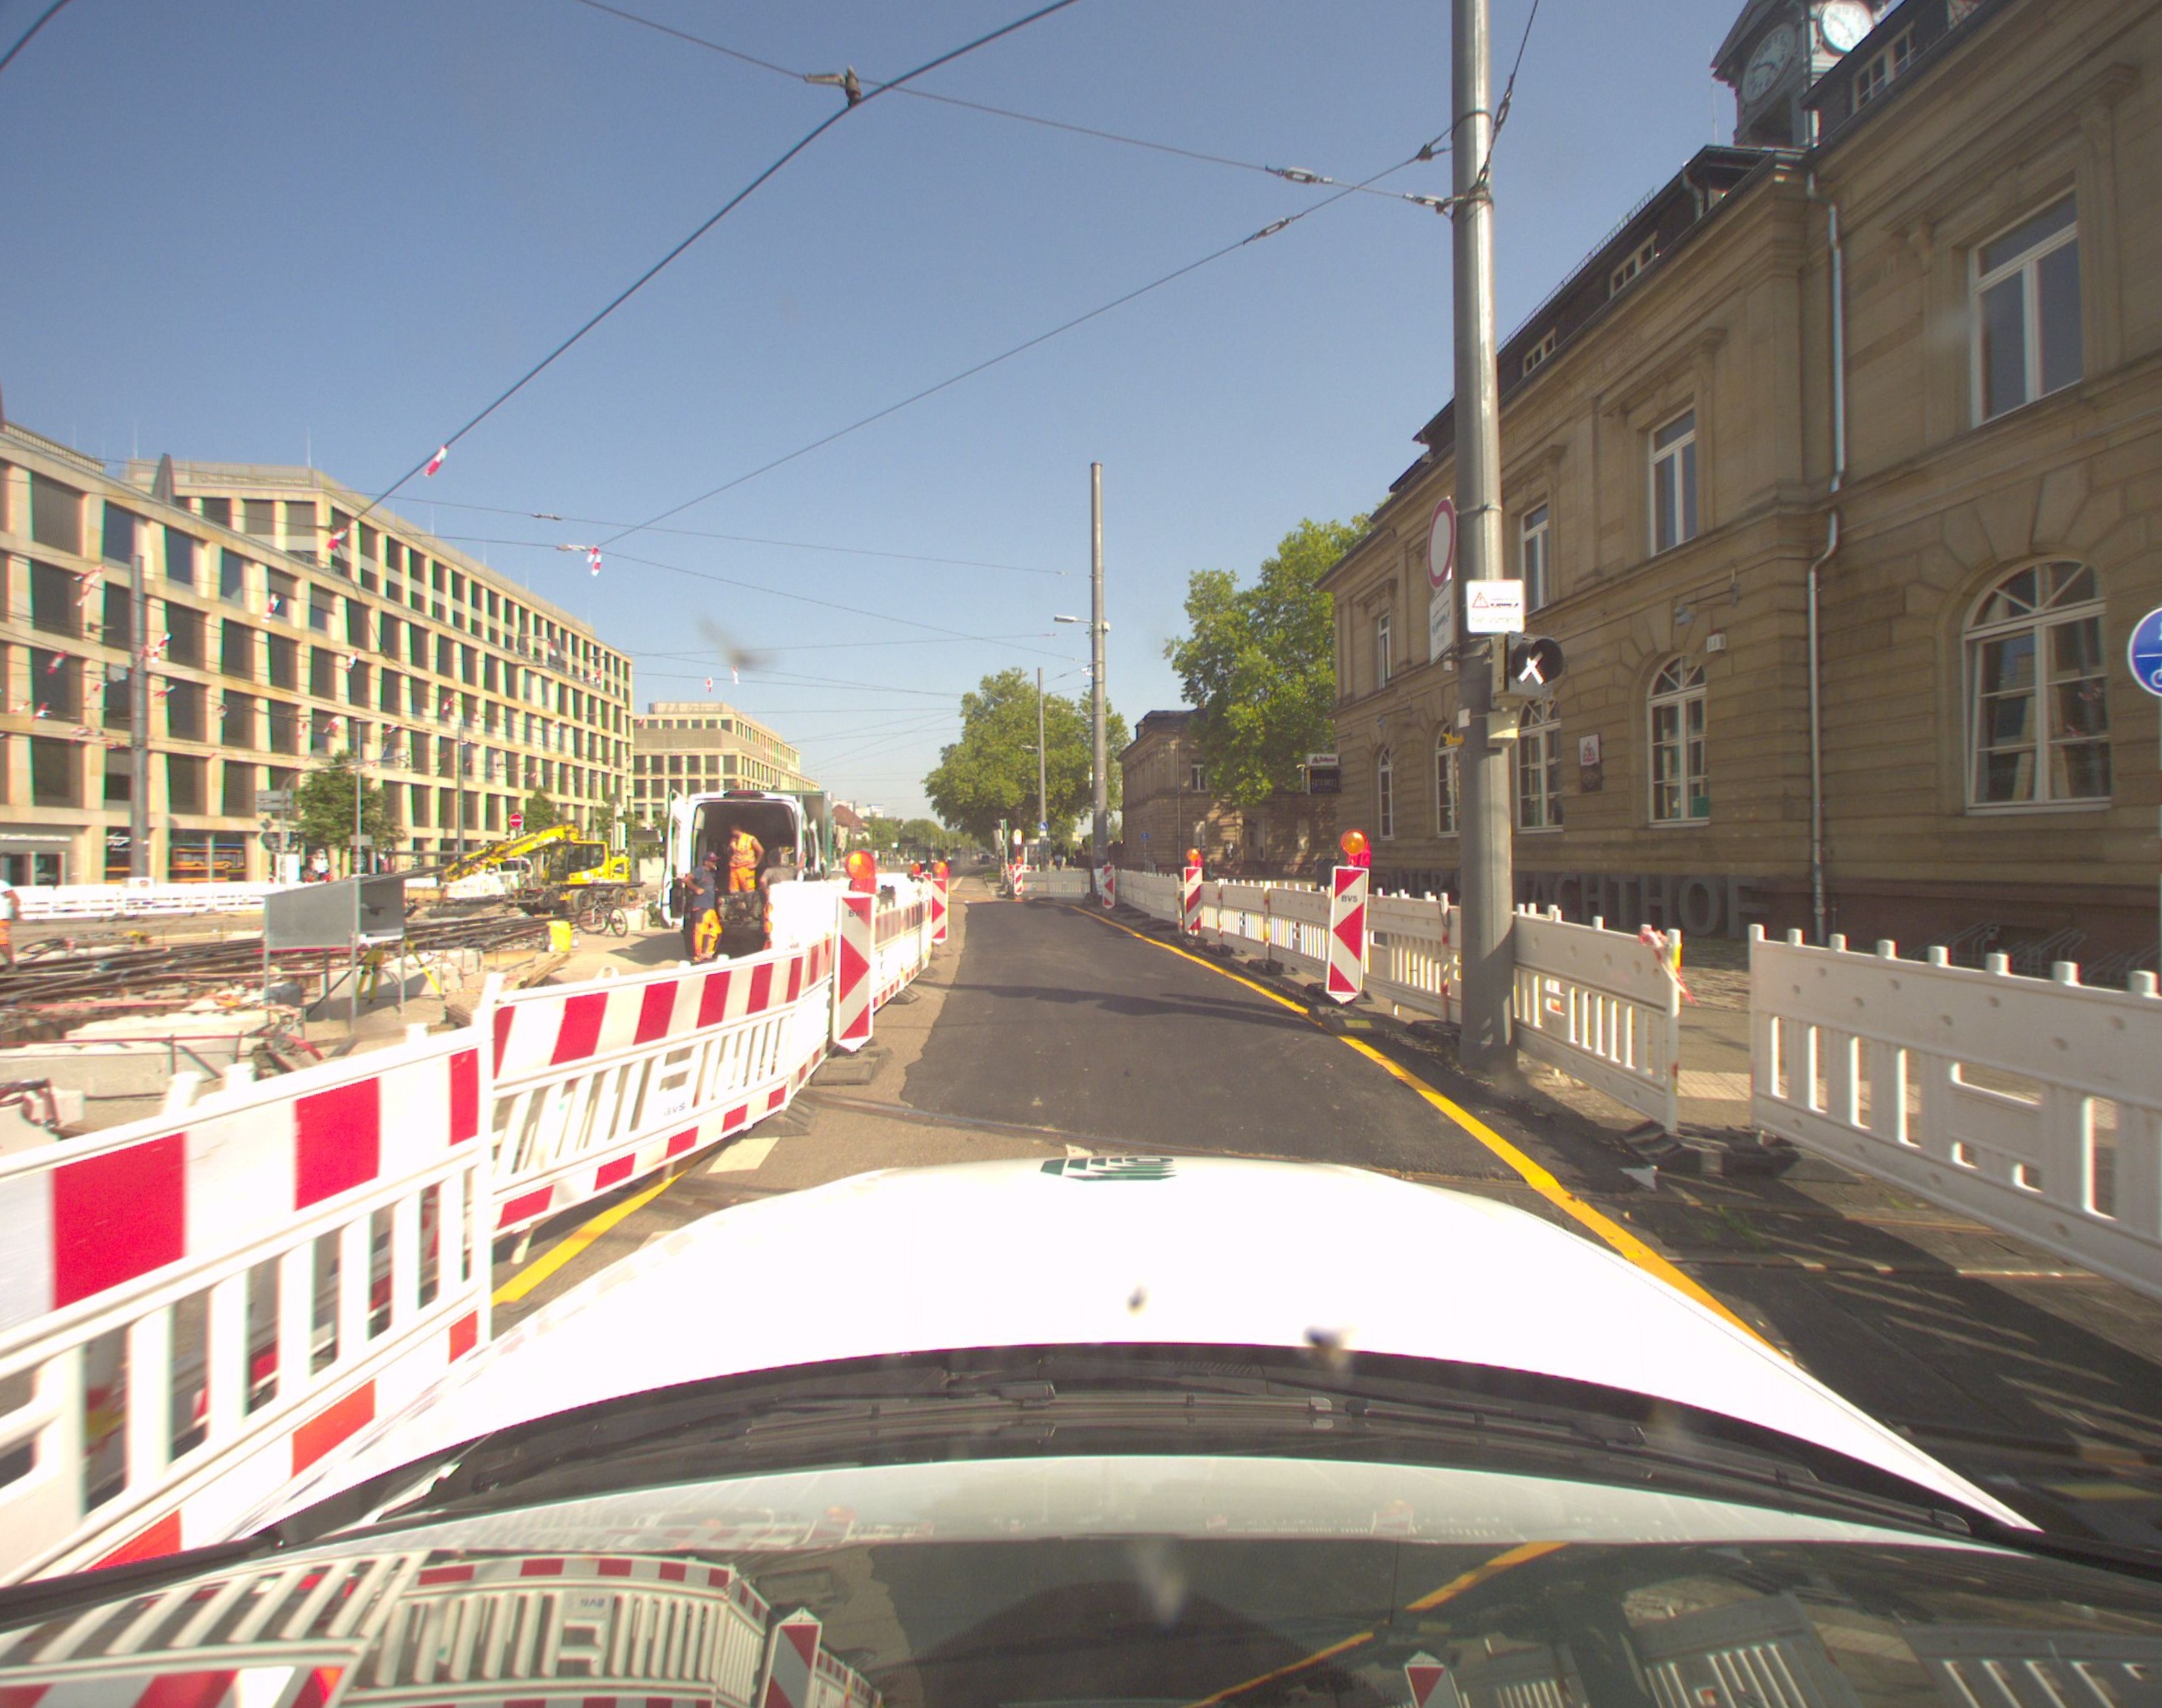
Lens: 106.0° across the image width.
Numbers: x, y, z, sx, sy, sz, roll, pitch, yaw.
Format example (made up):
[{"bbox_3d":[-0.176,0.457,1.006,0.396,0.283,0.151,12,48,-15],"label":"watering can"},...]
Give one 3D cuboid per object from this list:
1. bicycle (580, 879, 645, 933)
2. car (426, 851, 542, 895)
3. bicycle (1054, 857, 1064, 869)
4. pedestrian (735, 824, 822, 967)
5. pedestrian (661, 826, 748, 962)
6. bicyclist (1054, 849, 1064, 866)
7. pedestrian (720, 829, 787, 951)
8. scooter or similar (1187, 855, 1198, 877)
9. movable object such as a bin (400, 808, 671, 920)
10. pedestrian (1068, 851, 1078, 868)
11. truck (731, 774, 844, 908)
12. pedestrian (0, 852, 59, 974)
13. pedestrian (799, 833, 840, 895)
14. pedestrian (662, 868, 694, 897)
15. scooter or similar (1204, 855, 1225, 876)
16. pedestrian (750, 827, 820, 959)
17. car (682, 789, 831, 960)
[{"bbox_3d":[-10.360,1.124,17.978,1.640,1.136,0.621,-2,-1,36],"label":"bicycle"},{"bbox_3d":[-30.163,0.920,41.386,1.803,2.030,5.124,-1,0,4],"label":"car"},{"bbox_3d":[-1.972,0.767,73.161,0.717,1.042,1.897,-1,0,-8],"label":"bicycle"},{"bbox_3d":[-4.479,0.593,12.090,0.727,2.013,0.913,-2,-1,27],"label":"pedestrian"},{"bbox_3d":[-5.810,0.592,12.583,0.727,2.013,0.912,-2,-1,26],"label":"pedestrian"},{"bbox_3d":[-1.997,0.298,73.222,0.717,1.543,0.953,-1,0,-9],"label":"bicyclist"},{"bbox_3d":[-5.627,0.600,14.040,0.732,2.013,0.907,-2,0,-1],"label":"pedestrian"},{"bbox_3d":[6.612,0.714,48.255,0.418,1.210,1.261,-1,2,16],"label":"scooter or similar"},{"bbox_3d":[-22.197,0.350,34.069,3.476,4.013,9.083,-2,0,18],"label":"movable object such as a bin"},{"bbox_3d":[-0.814,0.559,82.839,0.818,1.686,1.010,-3,0,-6],"label":"pedestrian"},{"bbox_3d":[-9.308,-0.382,26.619,2.679,3.678,8.172,-1,0,-15],"label":"truck"},{"bbox_3d":[-17.103,0.925,12.806,1.025,1.866,1.133,-1,-1,-38],"label":"pedestrian"},{"bbox_3d":[-7.207,0.275,22.447,0.698,1.694,0.770,-2,-1,30],"label":"pedestrian"},{"bbox_3d":[-19.381,1.373,39.169,1.012,1.306,0.981,-1,0,-3],"label":"pedestrian"},{"bbox_3d":[8.046,0.694,48.912,1.259,1.210,0.418,-3,2,-32],"label":"scooter or similar"},{"bbox_3d":[-4.727,0.608,13.045,0.731,2.013,0.907,-2,0,0],"label":"pedestrian"},{"bbox_3d":[-6.068,0.328,15.824,2.231,2.729,5.139,-1,0,-18],"label":"car"}]
